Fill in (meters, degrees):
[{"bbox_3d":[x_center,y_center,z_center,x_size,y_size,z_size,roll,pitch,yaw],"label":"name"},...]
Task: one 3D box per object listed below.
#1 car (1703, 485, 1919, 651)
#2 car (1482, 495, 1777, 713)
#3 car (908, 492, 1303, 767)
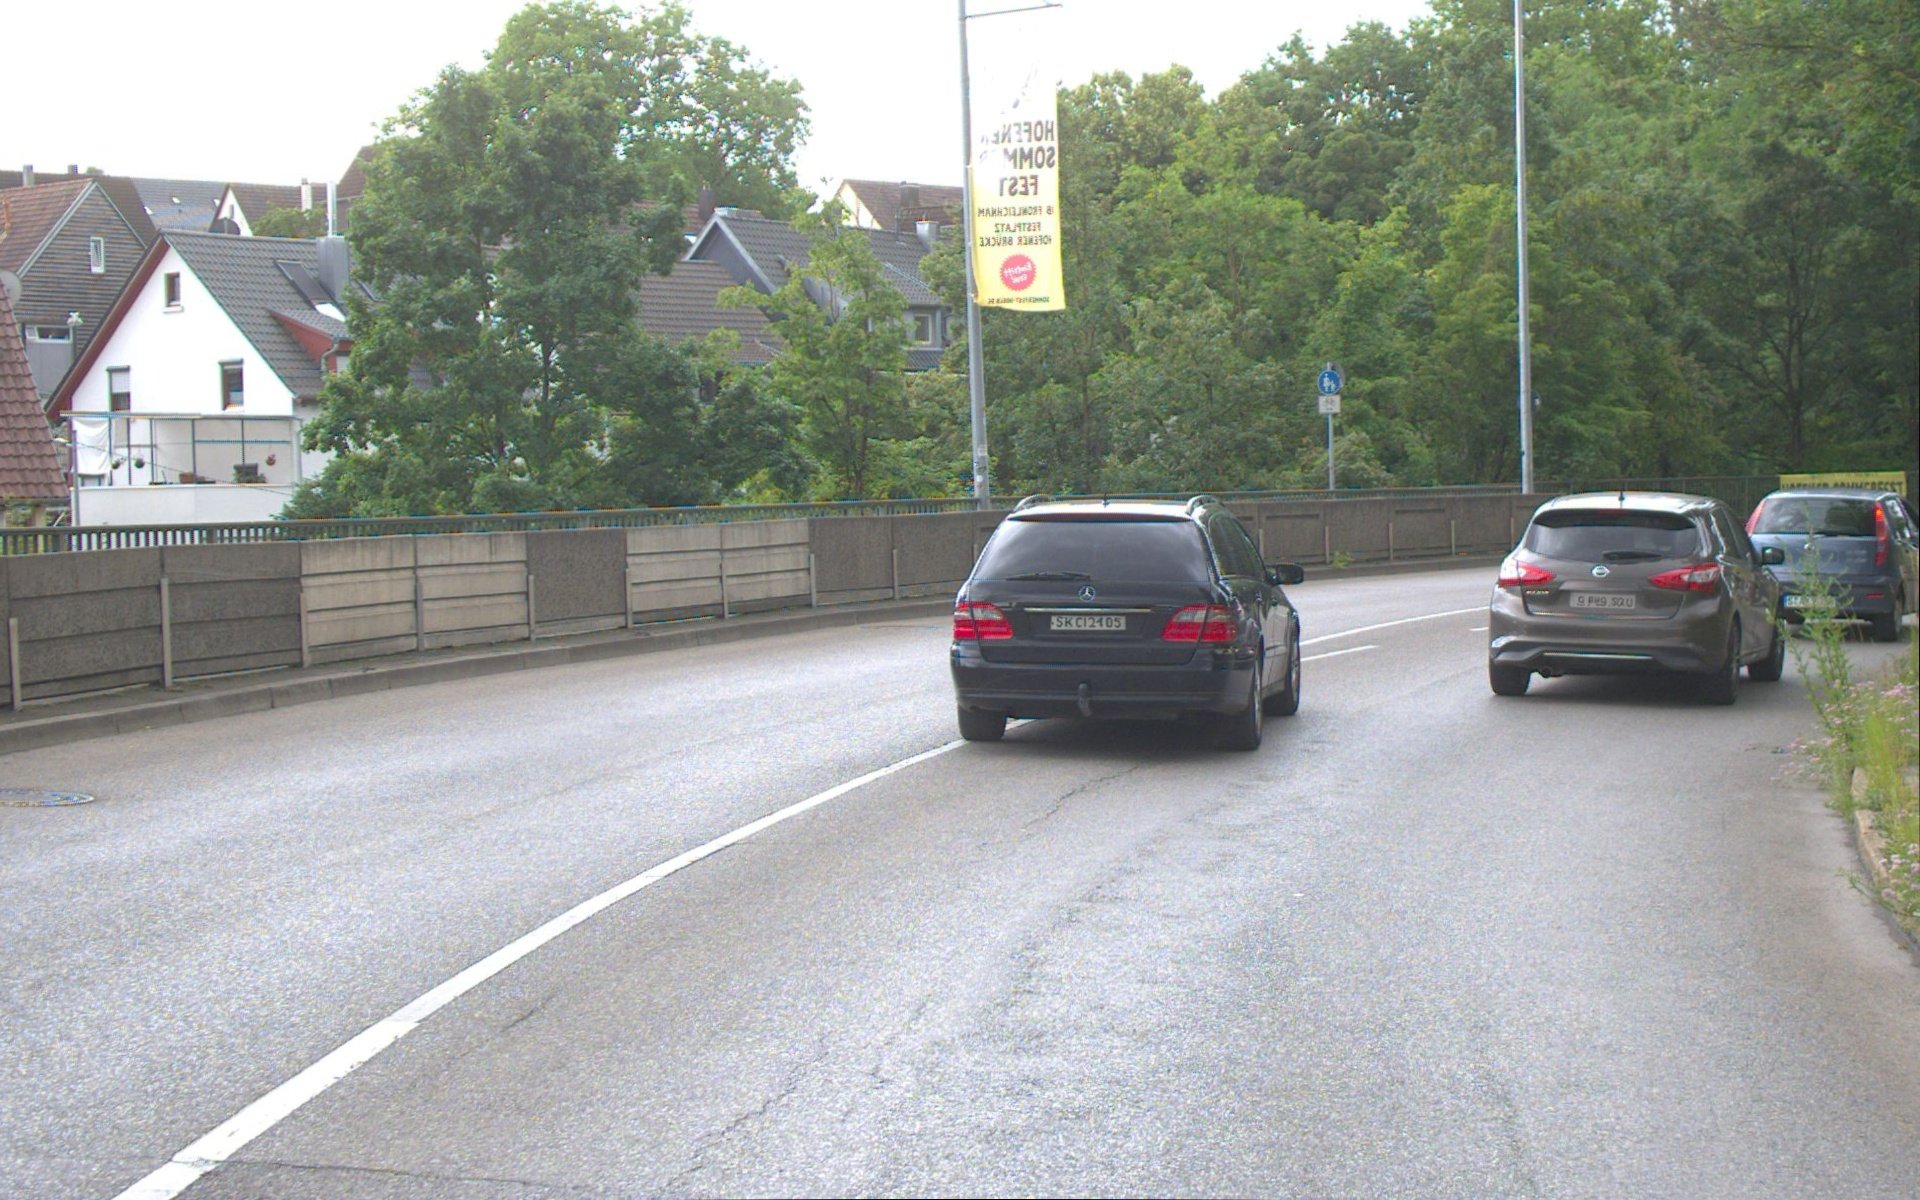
[{"bbox_3d":[8.898,-0.359,34.935,1.895,1.568,3.995,1,2,23],"label":"car"},{"bbox_3d":[5.185,-0.033,26.275,1.776,1.489,3.997,2,2,17],"label":"car"},{"bbox_3d":[1.025,0.091,21.541,1.852,1.481,4.419,1,2,10],"label":"car"}]
